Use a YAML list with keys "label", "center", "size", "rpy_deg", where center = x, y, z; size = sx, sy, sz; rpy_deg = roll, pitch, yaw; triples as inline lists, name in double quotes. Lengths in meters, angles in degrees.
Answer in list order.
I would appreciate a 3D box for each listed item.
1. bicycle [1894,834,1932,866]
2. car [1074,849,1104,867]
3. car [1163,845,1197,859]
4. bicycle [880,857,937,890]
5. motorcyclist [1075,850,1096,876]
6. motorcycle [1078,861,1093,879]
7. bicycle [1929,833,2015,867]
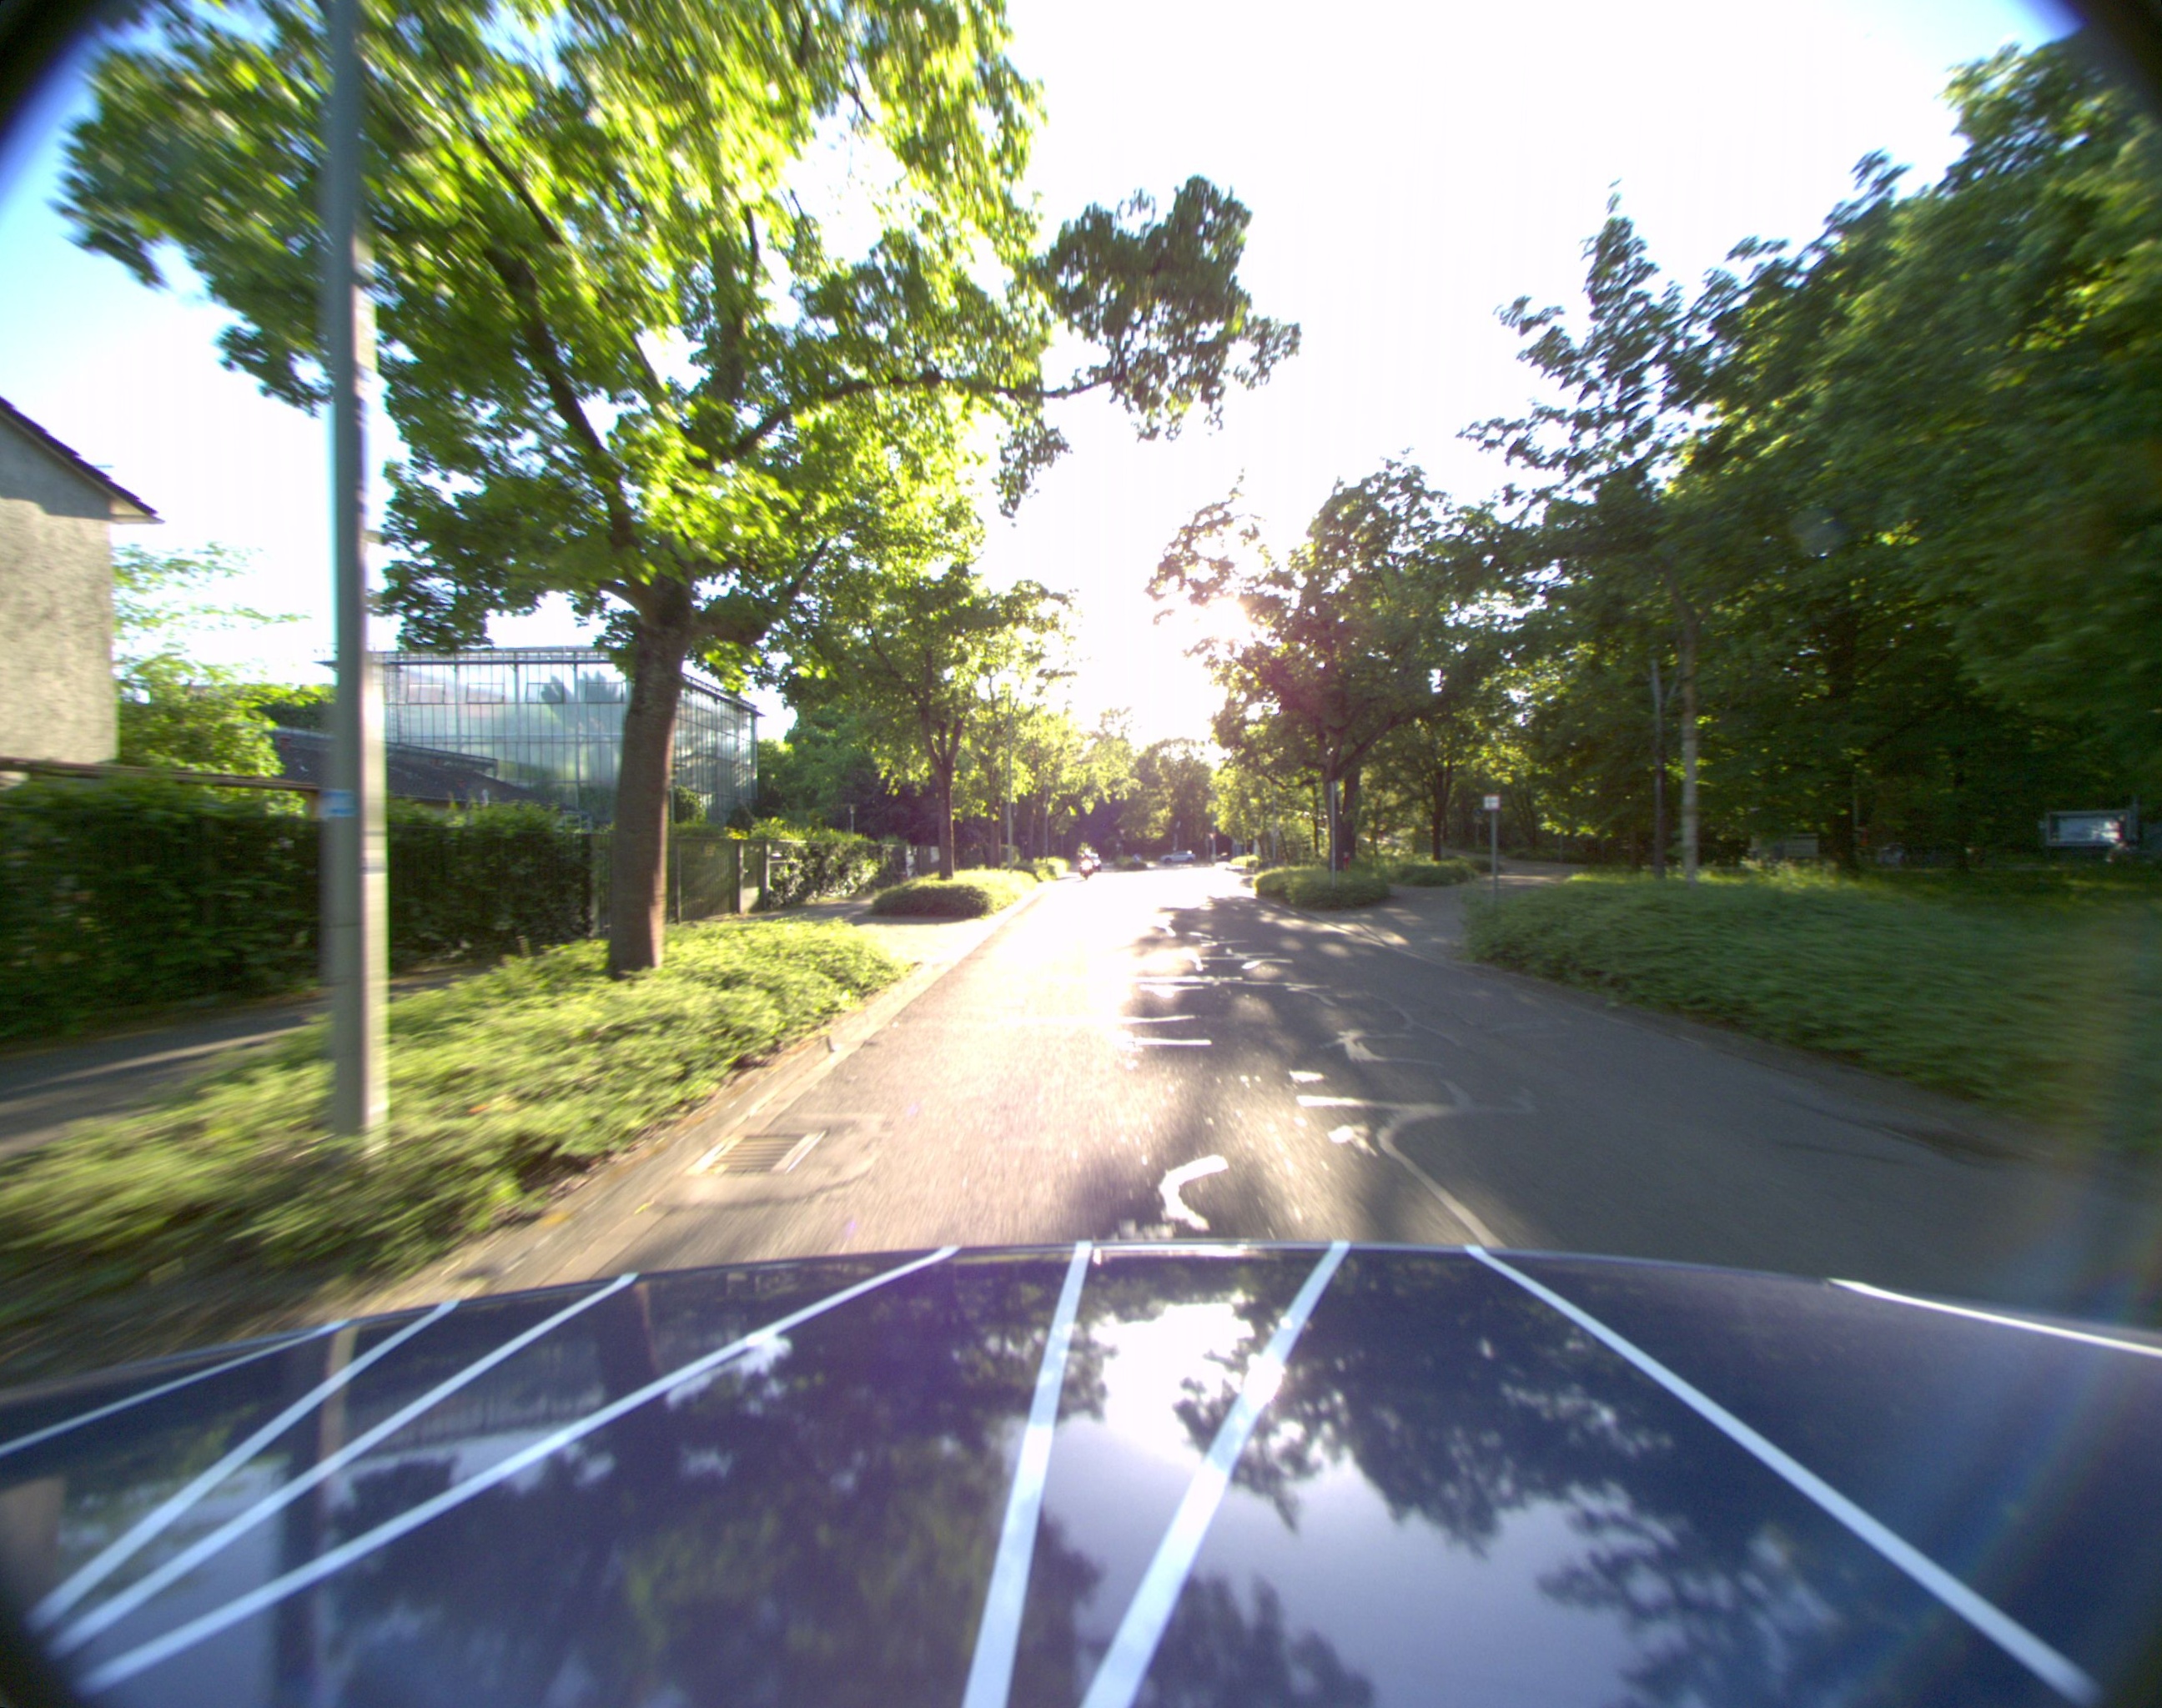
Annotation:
- label: "bicycle"
  center: [29.425, -0.163, 26.892]
  size: [0.536, 1.065, 2.434]
  rpy_deg: [-4, -1, 40]
- label: "car"
  center: [0.650, 0.334, 62.569]
  size: [1.999, 1.365, 4.171]
  rpy_deg: [-2, 1, -6]
- label: "car"
  center: [13.204, -0.280, 101.695]
  size: [4.366, 1.750, 1.572]
  rpy_deg: [-2, 1, 0]
- label: "bicycle"
  center: [-6.643, 0.742, 29.458]
  size: [0.884, 1.193, 2.330]
  rpy_deg: [2, 1, 26]
- label: "motorcyclist"
  center: [0.260, 0.512, 43.556]
  size: [1.138, 1.419, 1.566]
  rpy_deg: [-2, 1, 1]
- label: "motorcycle"
  center: [0.277, 0.908, 43.734]
  size: [0.807, 0.907, 2.712]
  rpy_deg: [-2, 0, 1]
- label: "bicycle"
  center: [30.175, -0.136, 25.787]
  size: [0.536, 1.065, 2.638]
  rpy_deg: [-5, -1, 18]
